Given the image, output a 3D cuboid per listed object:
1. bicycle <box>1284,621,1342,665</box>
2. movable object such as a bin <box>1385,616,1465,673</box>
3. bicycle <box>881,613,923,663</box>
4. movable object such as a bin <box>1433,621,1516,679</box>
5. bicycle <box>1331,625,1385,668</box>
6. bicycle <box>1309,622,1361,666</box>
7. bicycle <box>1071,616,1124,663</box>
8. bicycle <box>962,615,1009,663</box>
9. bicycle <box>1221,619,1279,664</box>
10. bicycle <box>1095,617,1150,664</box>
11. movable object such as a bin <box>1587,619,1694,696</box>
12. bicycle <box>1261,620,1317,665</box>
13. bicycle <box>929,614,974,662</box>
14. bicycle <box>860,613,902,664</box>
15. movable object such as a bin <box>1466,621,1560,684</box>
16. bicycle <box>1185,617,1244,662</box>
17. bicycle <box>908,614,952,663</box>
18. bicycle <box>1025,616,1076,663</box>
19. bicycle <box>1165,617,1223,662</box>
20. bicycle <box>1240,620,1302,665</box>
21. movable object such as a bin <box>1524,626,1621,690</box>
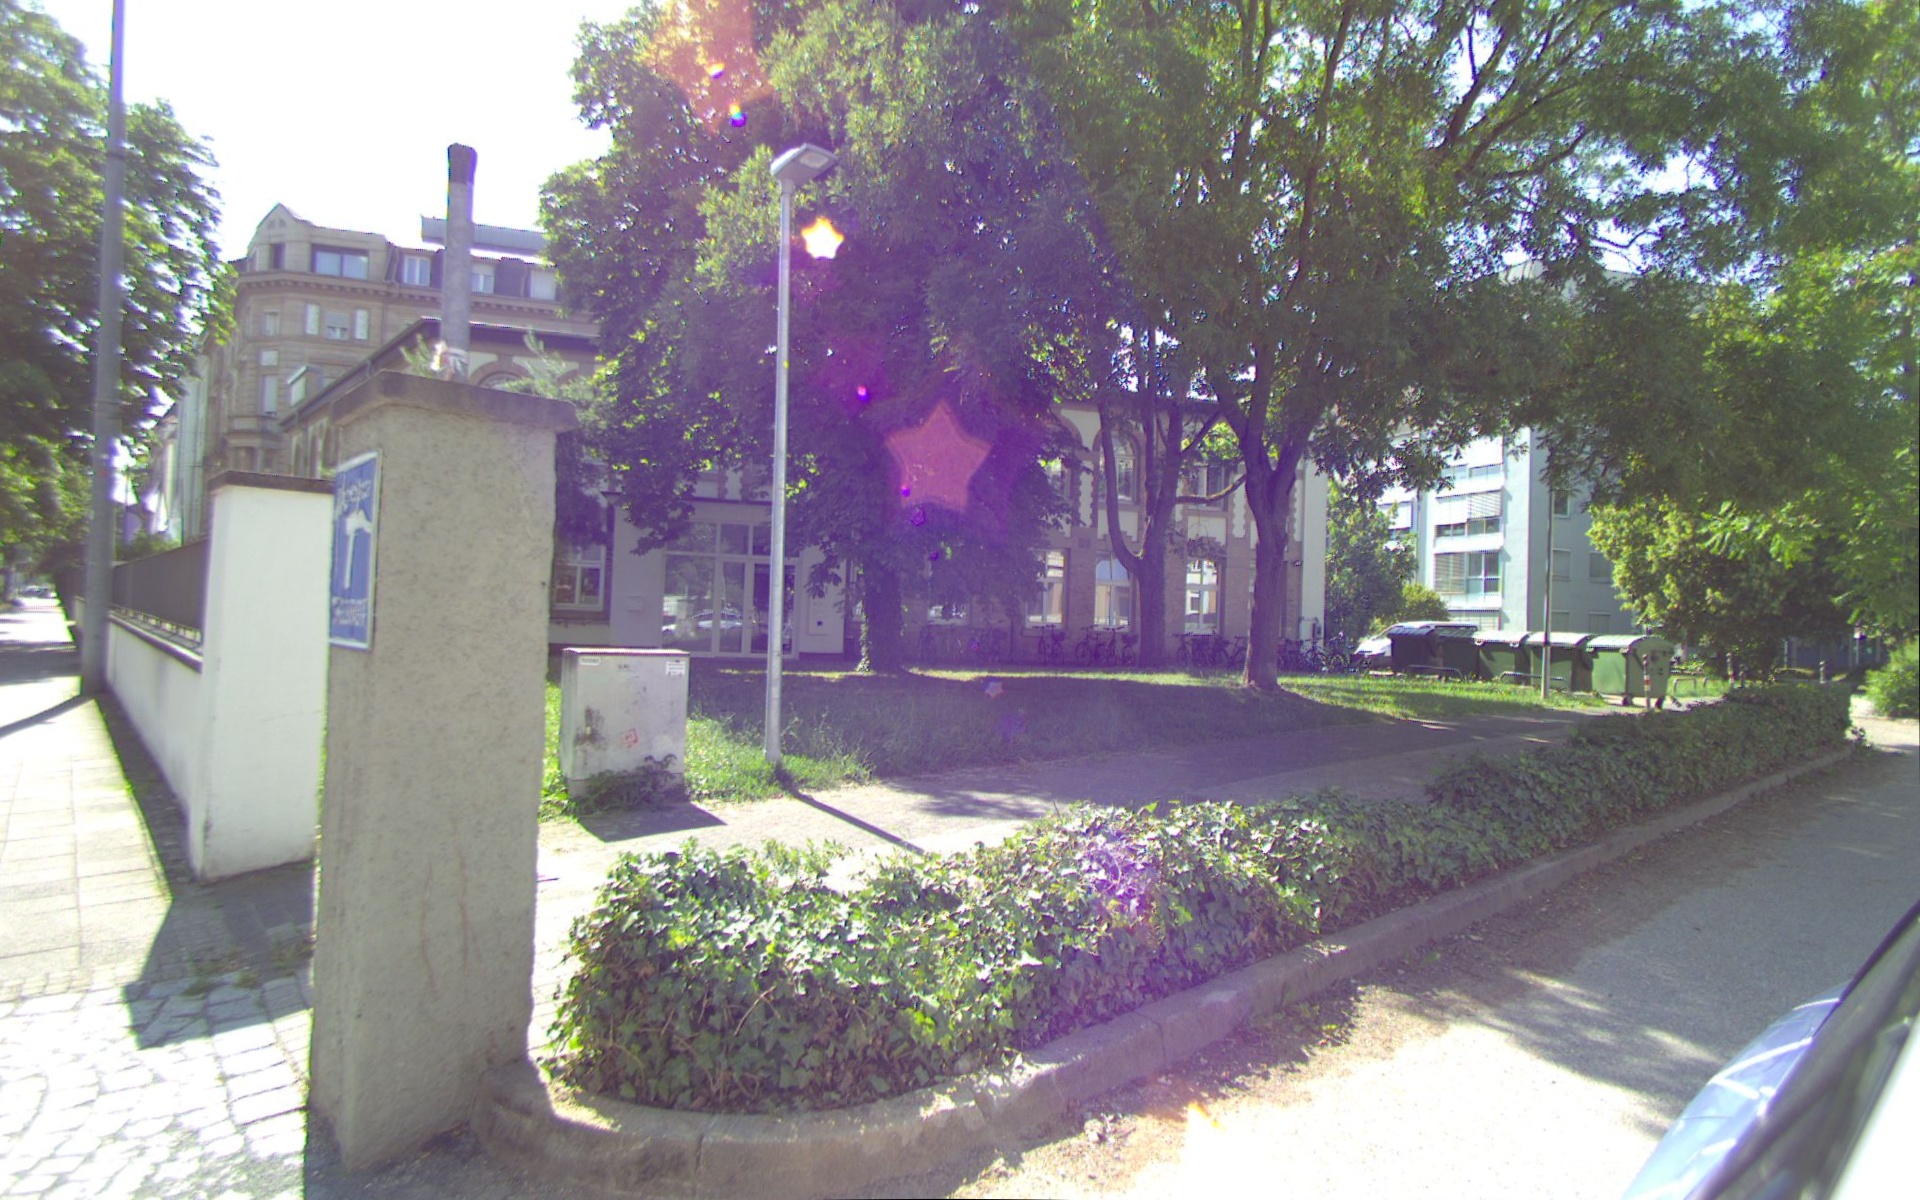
[{"bbox_3d":[10.115,1.216,29.062,0.600,1.176,1.855,2,-1,-17],"label":"bicycle"},{"bbox_3d":[12.205,1.156,26.605,1.224,1.427,1.439,2,-1,-21],"label":"movable object such as a bin"},{"bbox_3d":[-1.491,0.946,25.707,0.575,1.176,2.107,2,-1,-17],"label":"bicycle"},{"bbox_3d":[12.758,1.223,25.127,1.190,1.366,1.355,2,-1,-20],"label":"movable object such as a bin"},{"bbox_3d":[11.391,1.313,29.022,0.546,1.176,1.947,2,-1,-7],"label":"bicycle"},{"bbox_3d":[10.766,1.254,29.094,0.496,1.176,1.808,2,-1,-12],"label":"bicycle"},{"bbox_3d":[3.671,1.043,27.187,0.575,1.176,2.107,2,-1,-17],"label":"bicycle"},{"bbox_3d":[0.645,0.987,26.407,0.575,1.176,2.107,2,-1,-17],"label":"bicycle"},{"bbox_3d":[8.098,1.138,28.350,0.575,1.176,1.925,2,-1,-17],"label":"bicycle"},{"bbox_3d":[4.387,1.081,27.439,0.575,1.176,2.107,2,-1,-17],"label":"bicycle"},{"bbox_3d":[13.938,1.156,20.766,1.191,1.481,1.393,2,-1,-5],"label":"movable object such as a bin"},{"bbox_3d":[9.322,1.191,28.770,0.484,1.176,1.918,2,-1,-17],"label":"bicycle"},{"bbox_3d":[-0.247,0.959,26.207,0.575,1.176,2.107,2,-1,-17],"label":"bicycle"},{"bbox_3d":[-1.980,0.933,25.098,0.575,1.176,2.107,2,-1,-17],"label":"bicycle"},{"bbox_3d":[12.858,1.208,23.573,1.190,1.379,1.505,2,-1,-20],"label":"movable object such as a bin"},{"bbox_3d":[7.042,1.088,28.146,0.575,1.176,2.107,2,-1,-17],"label":"bicycle"},{"bbox_3d":[-0.795,0.953,25.912,0.575,1.176,2.107,2,-1,-17],"label":"bicycle"},{"bbox_3d":[2.382,1.023,26.841,0.575,1.176,2.107,2,-1,-17],"label":"bicycle"},{"bbox_3d":[6.430,1.072,27.904,0.575,1.176,2.107,2,-1,-17],"label":"bicycle"},{"bbox_3d":[8.779,1.181,28.628,0.575,1.176,2.107,2,-1,-17],"label":"bicycle"},{"bbox_3d":[13.373,1.257,22.132,1.190,1.317,1.358,2,-1,-20],"label":"movable object such as a bin"}]
